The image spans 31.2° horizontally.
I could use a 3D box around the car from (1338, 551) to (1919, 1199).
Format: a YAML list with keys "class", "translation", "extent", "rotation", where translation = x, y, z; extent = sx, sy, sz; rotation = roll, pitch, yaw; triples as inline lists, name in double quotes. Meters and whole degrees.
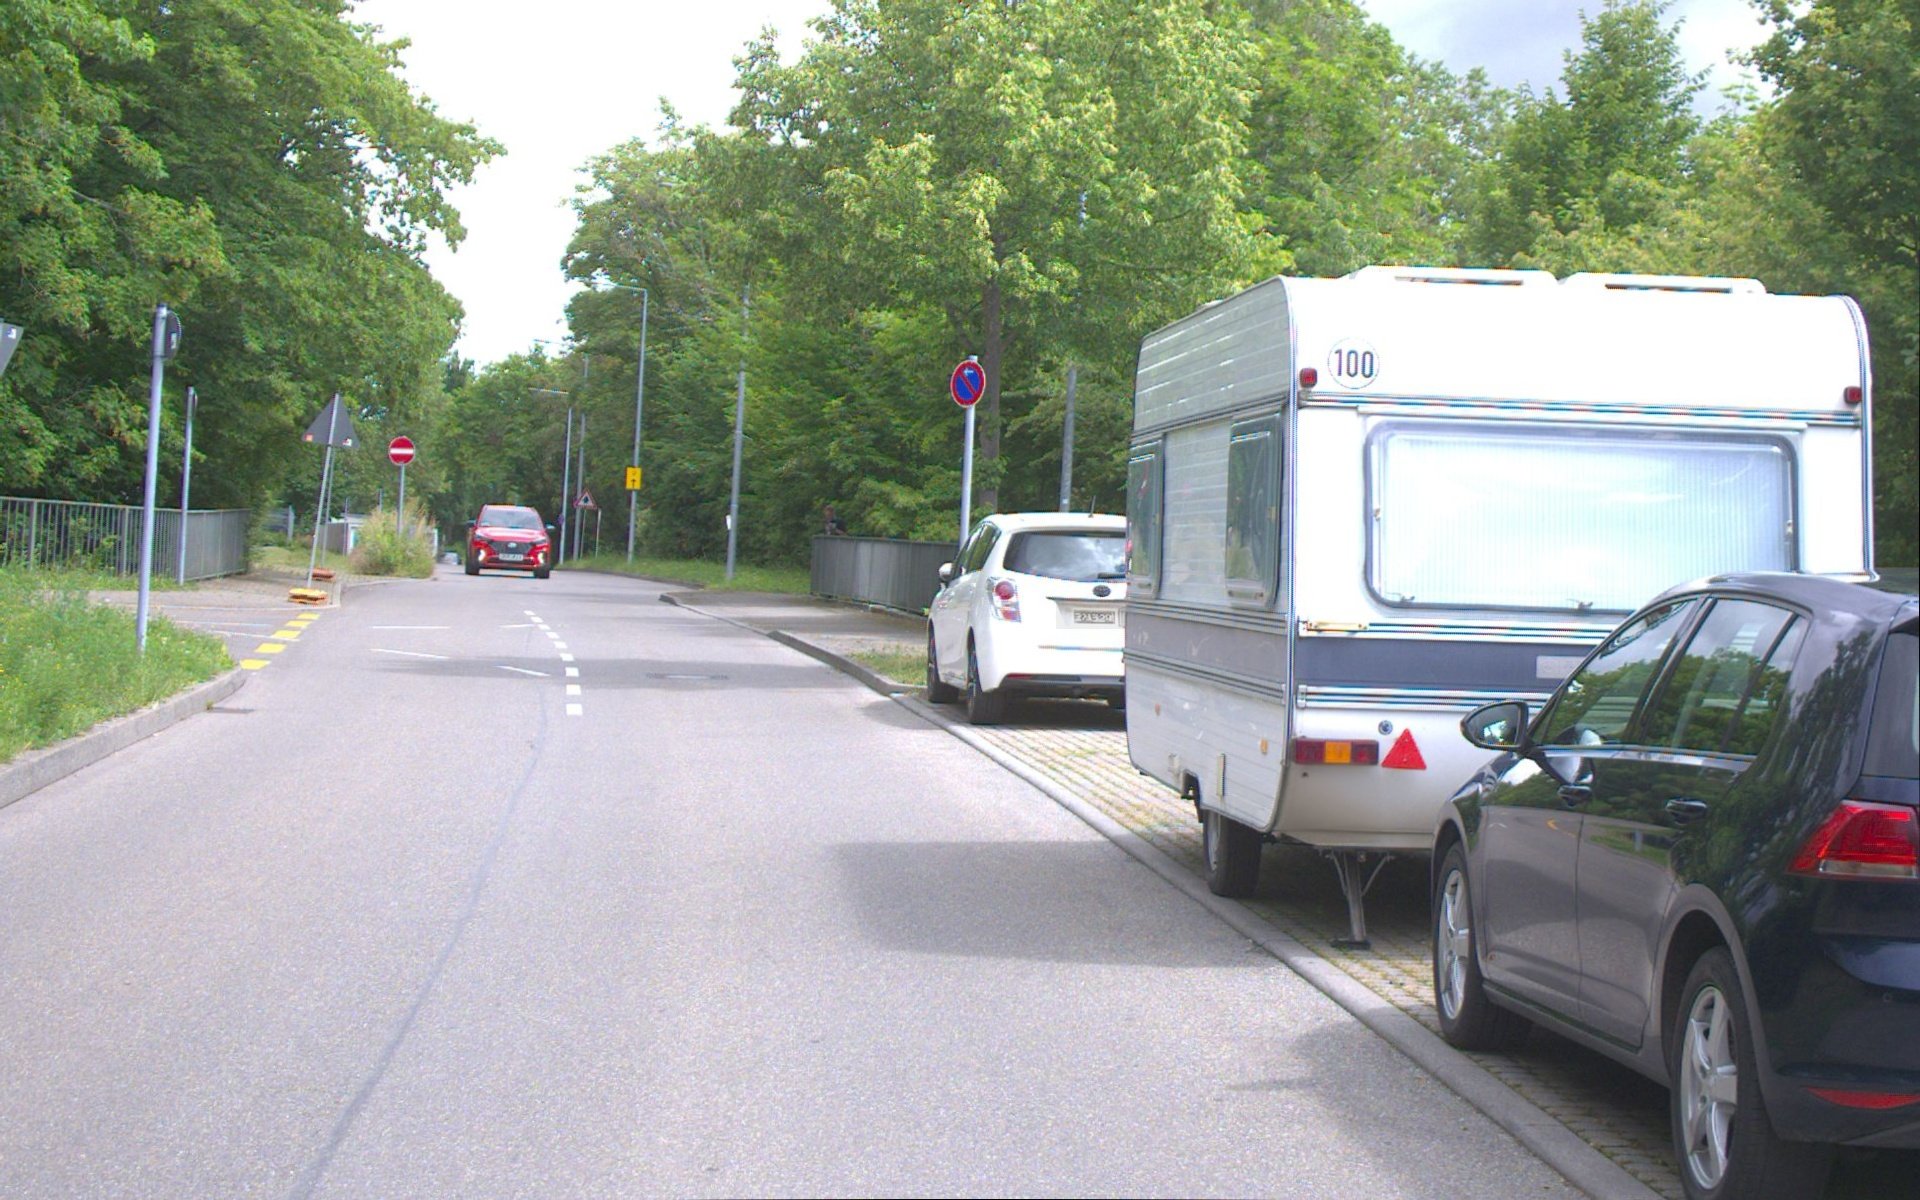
- class: "car"
  translation: [2.289, 0.640, 9.003]
  extent: [1.681, 1.446, 4.481]
  rotation: [2, 1, -5]

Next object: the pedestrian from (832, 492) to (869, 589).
- class: "pedestrian"
  translation: [-2.042, -1.111, 64.308]
  extent: [0.587, 1.777, 0.682]
  rotation: [3, -1, -3]

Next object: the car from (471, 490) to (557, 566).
- class: "car"
  translation: [-10.409, -1.693, 80.037]
  extent: [1.842, 1.653, 4.223]
  rotation: [2, 1, -9]

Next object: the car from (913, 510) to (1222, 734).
- class: "car"
  translation: [0.761, 0.106, 27.456]
  extent: [1.804, 1.594, 4.373]
  rotation: [1, 1, -7]

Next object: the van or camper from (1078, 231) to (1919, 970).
- class: "van or camper"
  translation: [2.004, -0.032, 14.607]
  extent: [2.354, 2.545, 5.075]
  rotation: [1, 1, -5]
